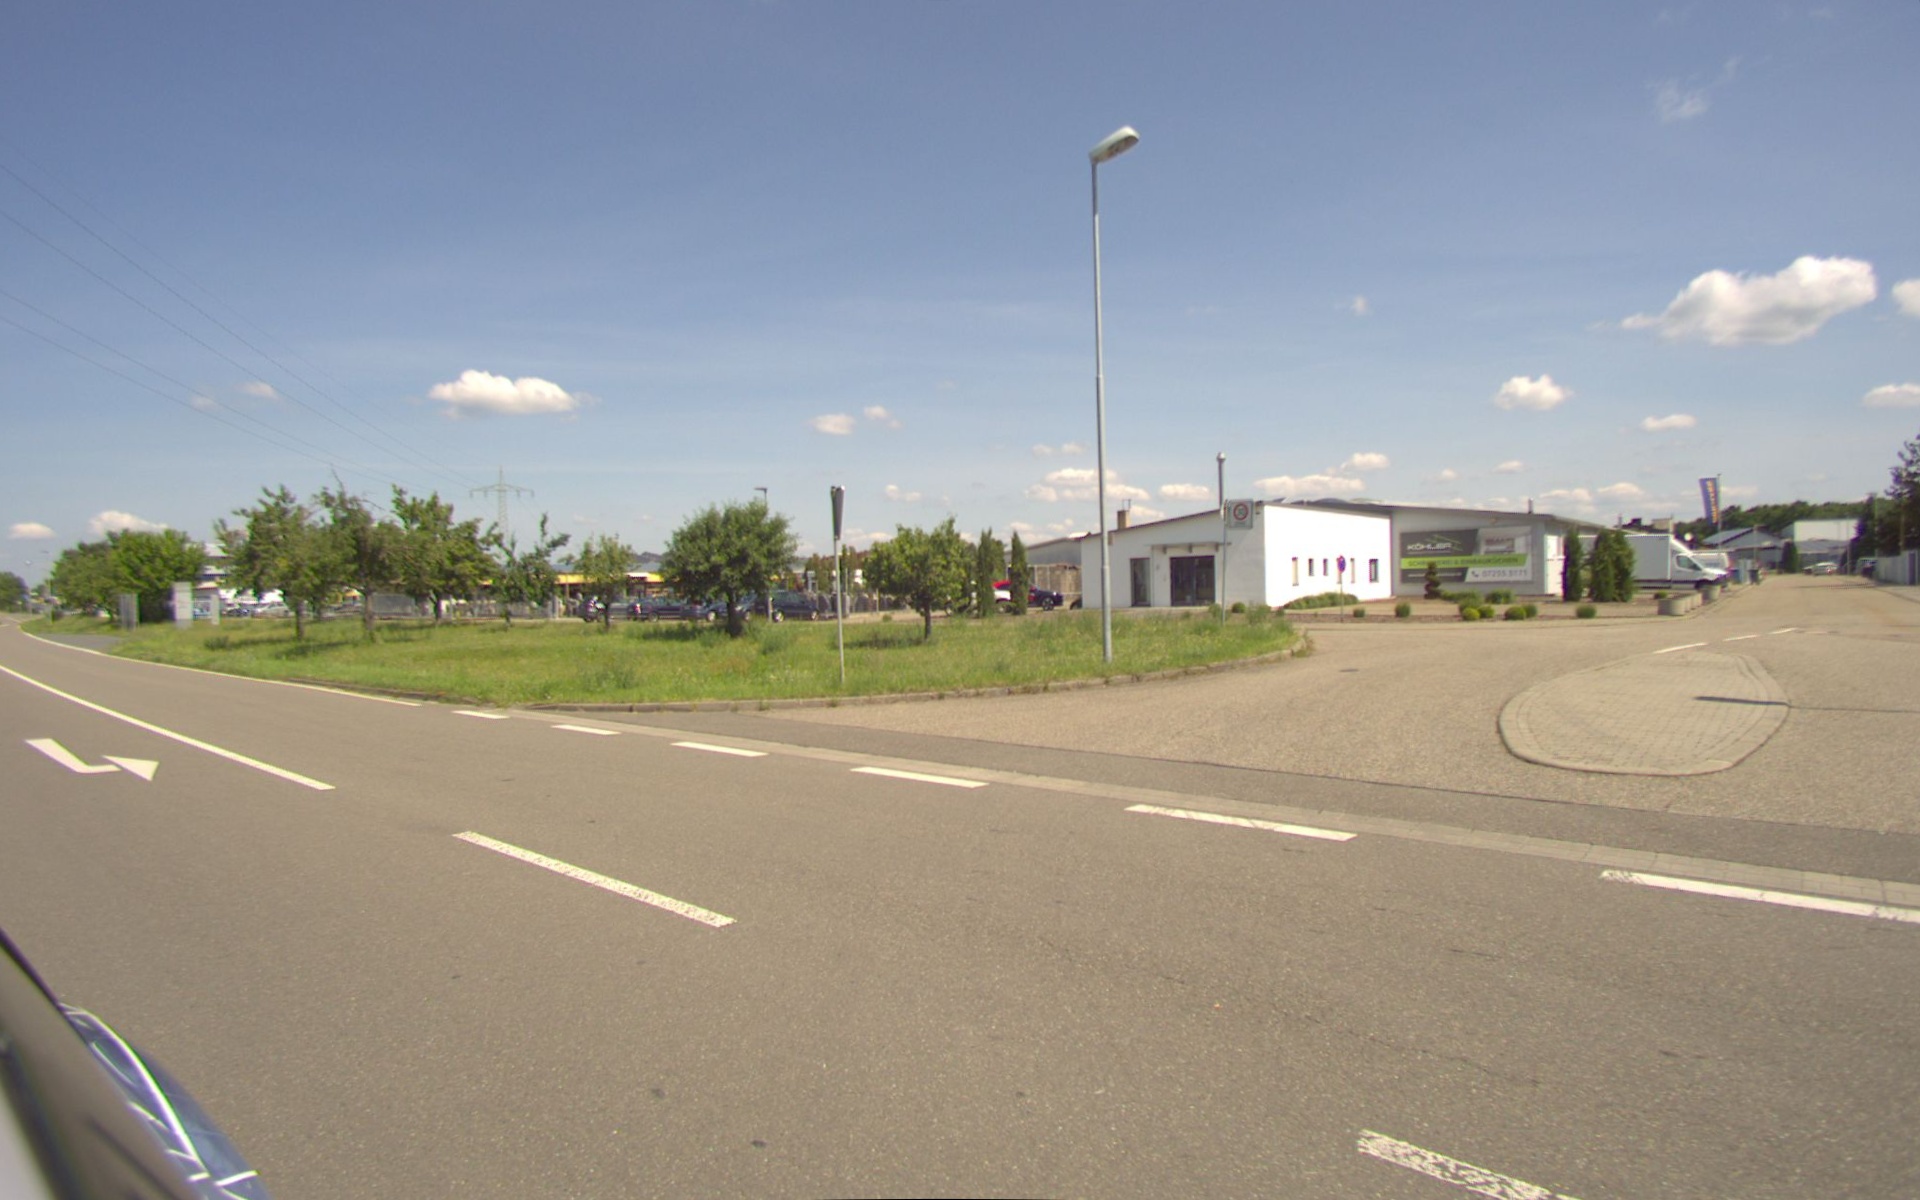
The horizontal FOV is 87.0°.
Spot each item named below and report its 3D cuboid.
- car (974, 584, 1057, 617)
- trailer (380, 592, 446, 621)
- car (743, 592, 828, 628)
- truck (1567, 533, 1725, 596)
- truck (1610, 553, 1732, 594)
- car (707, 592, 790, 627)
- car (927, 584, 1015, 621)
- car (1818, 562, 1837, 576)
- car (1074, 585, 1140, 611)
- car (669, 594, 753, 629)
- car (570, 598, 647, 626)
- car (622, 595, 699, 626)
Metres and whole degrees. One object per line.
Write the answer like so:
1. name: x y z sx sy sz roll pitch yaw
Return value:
1. car: 2.938 0.008 52.847 4.124 1.540 1.994 -2 1 10
2. trailer: -58.093 0.709 107.590 2.737 2.846 5.510 -1 1 38
3. car: -8.941 0.486 52.180 1.998 1.652 3.948 -1 1 39
4. truck: 38.784 -1.951 57.395 7.184 3.237 1.974 -1 1 40
5. truck: 52.530 -1.936 74.878 7.184 2.685 2.117 -1 1 40
6. car: -11.127 0.509 53.457 1.856 1.652 3.948 -1 1 39
7. car: 0.585 0.107 50.425 4.124 1.652 1.994 -2 1 10
8. car: 112.338 -4.020 131.059 1.743 1.696 3.561 -1 1 39
9. car: 9.348 -0.136 64.261 4.107 1.495 2.002 -3 1 -43
10. car: -13.442 0.614 54.793 1.998 1.652 3.948 -1 1 39
11. car: -21.466 0.708 61.891 1.998 1.539 3.948 -1 1 39
12. car: -17.119 0.594 58.015 1.664 1.566 3.948 -1 1 39
